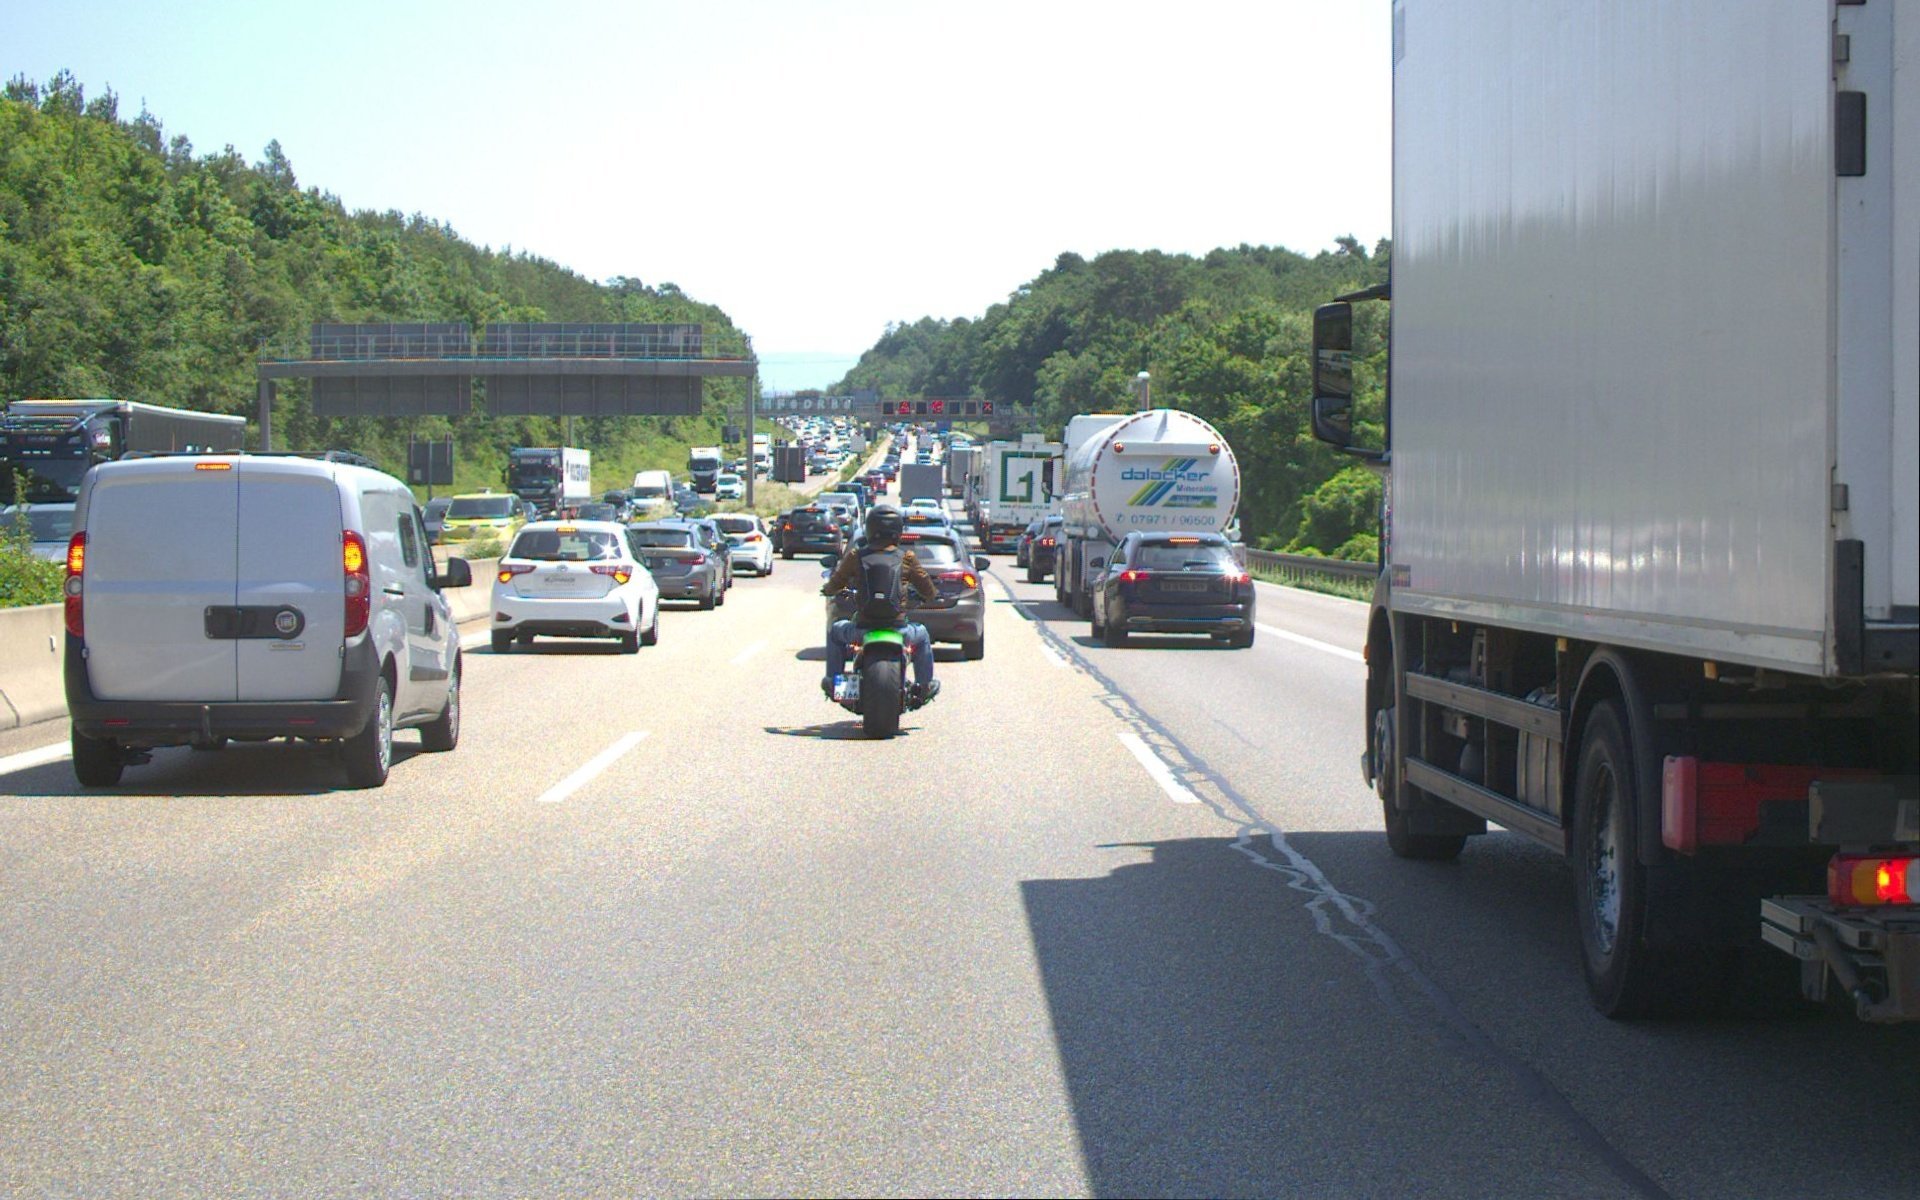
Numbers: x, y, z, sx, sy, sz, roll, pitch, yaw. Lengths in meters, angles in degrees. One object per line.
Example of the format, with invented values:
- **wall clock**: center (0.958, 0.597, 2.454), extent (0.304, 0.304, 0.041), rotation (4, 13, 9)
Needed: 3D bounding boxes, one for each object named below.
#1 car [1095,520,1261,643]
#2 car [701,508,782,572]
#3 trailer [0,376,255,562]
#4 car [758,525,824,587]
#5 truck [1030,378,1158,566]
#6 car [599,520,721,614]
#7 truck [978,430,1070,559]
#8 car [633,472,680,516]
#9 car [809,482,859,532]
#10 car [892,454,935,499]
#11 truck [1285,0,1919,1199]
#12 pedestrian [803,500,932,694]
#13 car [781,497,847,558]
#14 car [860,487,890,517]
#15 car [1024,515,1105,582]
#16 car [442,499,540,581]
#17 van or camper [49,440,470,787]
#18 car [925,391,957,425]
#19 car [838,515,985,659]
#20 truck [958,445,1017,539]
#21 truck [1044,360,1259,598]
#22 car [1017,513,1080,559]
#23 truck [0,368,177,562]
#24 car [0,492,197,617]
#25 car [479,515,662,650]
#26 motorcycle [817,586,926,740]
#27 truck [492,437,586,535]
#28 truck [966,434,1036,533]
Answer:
- **car**: center (2.745, -0.269, 44.143), extent (1.828, 1.465, 4.000), rotation (1, 1, 0)
- **car**: center (-5.149, -1.434, 81.411), extent (1.699, 1.473, 4.000), rotation (0, 2, 0)
- **trailer**: center (-19.733, -2.950, 82.169), extent (2.906, 3.960, 13.889), rotation (-2, 1, -1)
- **car**: center (-5.771, -1.510, 117.723), extent (1.993, 2.007, 4.000), rotation (-2, 1, 0)
- **truck**: center (2.594, -2.456, 67.720), extent (1.993, 3.510, 4.752), rotation (-2, 1, -3)
- **car**: center (-4.931, -0.571, 56.937), extent (1.699, 1.473, 4.000), rotation (0, 2, 0)
- **truck**: center (2.304, -3.893, 127.352), extent (3.033, 4.526, 9.983), rotation (1, 2, 0)
- **car**: center (-16.703, -5.841, 189.435), extent (1.993, 2.369, 7.365), rotation (0, 2, 0)
- **car**: center (-5.399, -3.963, 147.418), extent (1.929, 2.007, 4.000), rotation (-2, 1, 0)
- **car**: center (-2.723, -7.267, 202.596), extent (2.504, 2.578, 5.017), rotation (0, 2, 0)
- **truck**: center (3.163, -0.738, 12.313), extent (2.688, 3.863, 9.781), rotation (-3, 1, -1)
- **pedestrian**: center (-0.662, -0.030, 24.952), extent (0.849, 1.357, 0.961), rotation (-2, 1, 1)
- **car**: center (-4.517, -2.268, 107.119), extent (1.880, 1.853, 4.000), rotation (1, 1, 0)
- **car**: center (-5.937, -6.820, 239.422), extent (1.993, 2.007, 4.000), rotation (1, 1, 0)
- **car**: center (2.485, -1.252, 82.681), extent (1.787, 1.550, 3.804), rotation (0, 2, 0)
- **car**: center (-12.293, -1.557, 90.390), extent (1.880, 2.007, 4.468), rotation (-3, 1, 0)
- **van or camper**: center (-4.128, 0.053, 20.897), extent (1.796, 1.886, 4.160), rotation (0, 1, -1)
- **car**: center (-1.267, -12.770, 228.864), extent (1.993, 2.007, 4.000), rotation (-2, 1, 0)
- **car**: center (-0.564, -0.182, 39.115), extent (1.532, 1.504, 4.000), rotation (-2, 1, -1)
- **truck**: center (1.511, -6.112, 194.670), extent (3.033, 5.121, 9.983), rotation (1, 1, 0)
- **truck**: center (3.126, -1.955, 58.727), extent (2.988, 3.659, 9.288), rotation (-2, 1, 0)
- **car**: center (2.668, -1.951, 104.394), extent (1.787, 1.370, 3.804), rotation (0, 2, 0)
- **truck**: center (-19.677, -2.877, 76.015), extent (2.906, 3.960, 7.769), rotation (-2, 1, -1)
- **car**: center (-11.089, -0.613, 44.471), extent (1.563, 1.514, 4.000), rotation (-1, 1, -1)
- **car**: center (-4.473, -0.240, 39.967), extent (1.699, 1.473, 4.000), rotation (0, 2, 0)
- **motorcycle**: center (-0.618, 0.431, 24.738), extent (0.691, 1.012, 2.121), rotation (1, 1, 1)
- **truck**: center (-20.584, -5.538, 168.497), extent (3.724, 4.512, 7.327), rotation (-2, 1, -1)
- **truck**: center (1.914, -5.524, 164.572), extent (3.033, 4.526, 9.983), rotation (1, 2, 0)
